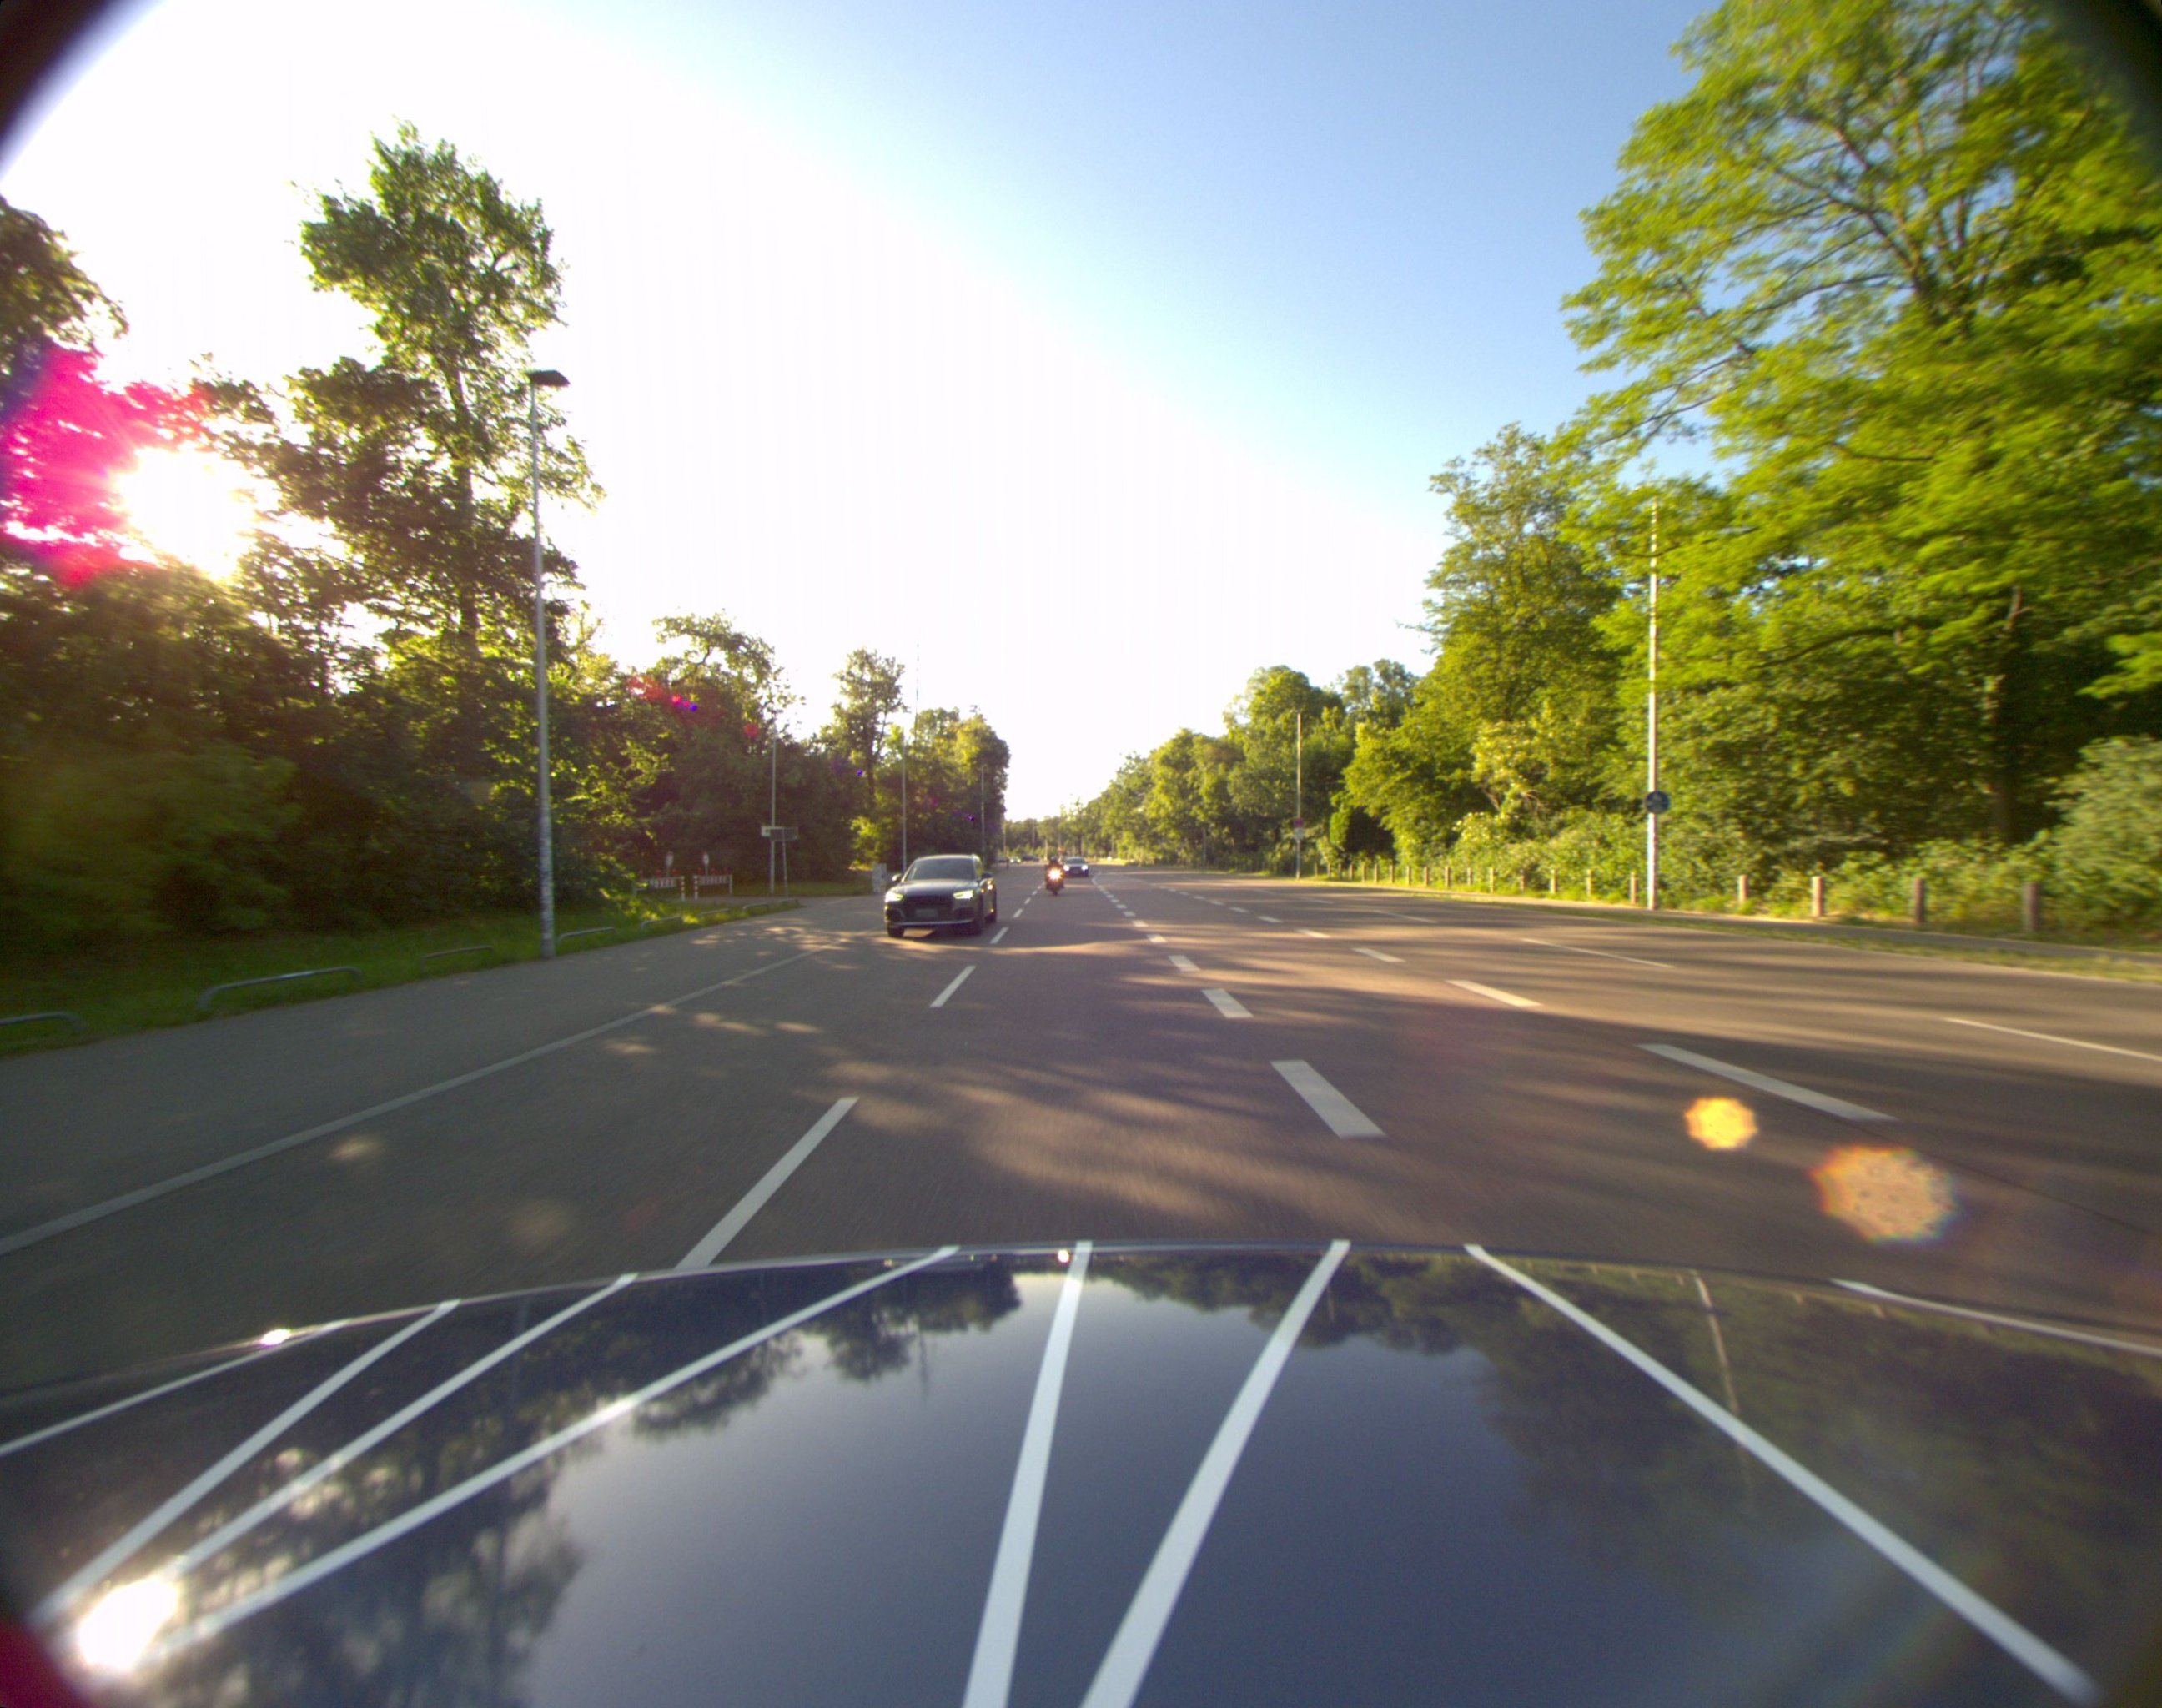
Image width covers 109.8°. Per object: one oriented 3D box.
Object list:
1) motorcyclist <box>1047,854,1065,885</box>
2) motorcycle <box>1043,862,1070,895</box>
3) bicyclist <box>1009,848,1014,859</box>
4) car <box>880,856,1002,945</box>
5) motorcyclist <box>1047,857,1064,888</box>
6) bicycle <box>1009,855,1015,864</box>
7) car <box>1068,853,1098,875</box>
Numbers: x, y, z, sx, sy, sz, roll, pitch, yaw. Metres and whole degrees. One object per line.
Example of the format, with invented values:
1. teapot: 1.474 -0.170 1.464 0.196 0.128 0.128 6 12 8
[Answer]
1. motorcyclist: -1.036 0.639 31.515 0.671 1.257 0.825 -2 1 -3
2. motorcycle: -1.056 1.001 31.741 0.916 1.243 2.961 -3 0 -5
3. bicyclist: -9.386 -0.057 103.089 0.522 1.460 0.860 3 0 -13
4. car: -2.930 0.901 16.878 1.898 1.596 4.543 -2 1 -1
5. motorcyclist: -1.091 0.770 32.388 0.671 1.257 0.825 -2 1 -5
6. bicycle: -9.414 0.703 103.080 0.556 1.130 1.862 1 0 -13
7. car: 0.081 0.692 56.968 1.868 1.538 4.794 -1 0 -4
